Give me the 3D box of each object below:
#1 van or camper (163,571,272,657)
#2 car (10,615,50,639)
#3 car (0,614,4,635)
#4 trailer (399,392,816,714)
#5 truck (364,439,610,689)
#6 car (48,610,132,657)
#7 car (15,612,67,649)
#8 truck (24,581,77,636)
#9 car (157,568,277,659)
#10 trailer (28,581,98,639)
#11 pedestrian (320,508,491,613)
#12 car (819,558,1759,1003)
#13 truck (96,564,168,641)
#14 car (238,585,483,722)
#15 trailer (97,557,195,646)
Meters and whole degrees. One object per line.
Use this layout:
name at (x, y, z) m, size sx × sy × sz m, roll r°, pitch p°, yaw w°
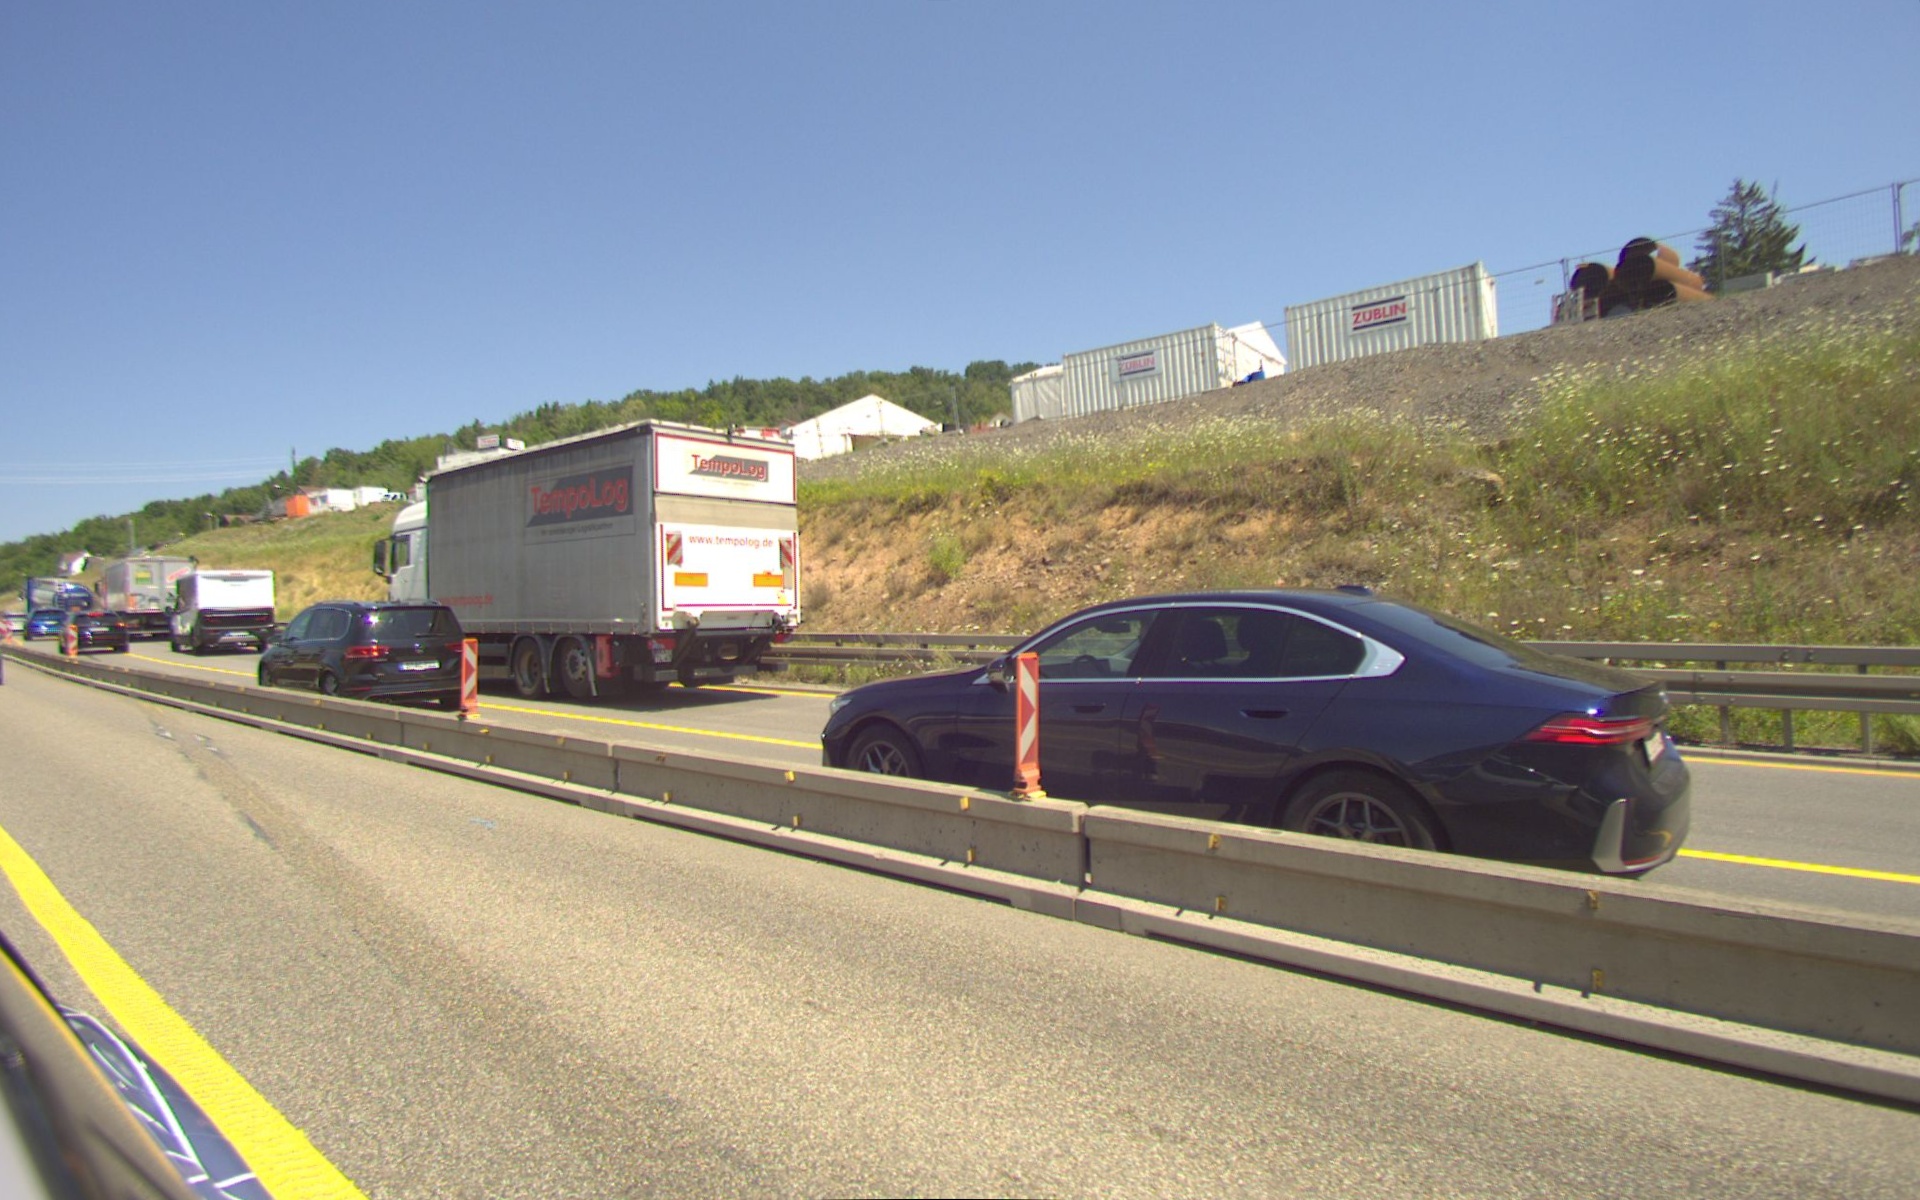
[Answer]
van or camper at (-25.766, 0.469, 34.994) m, size 2.099 × 2.725 × 6.459 m, roll 0°, pitch -1°, yaw -45°
car at (-59.489, 1.697, 64.708) m, size 1.812 × 1.440 × 4.539 m, roll -1°, pitch 0°, yaw -43°
car at (-74.193, 1.882, 77.147) m, size 1.812 × 1.530 × 4.846 m, roll -1°, pitch 0°, yaw -44°
trailer at (-6.233, -0.629, 16.965) m, size 8.237 × 4.205 × 2.784 m, roll 0°, pitch 1°, yaw 40°
truck at (-9.071, -0.617, 19.352) m, size 4.070 × 4.181 × 2.770 m, roll 0°, pitch 1°, yaw 40°
car at (-30.776, 1.185, 35.749) m, size 4.185 × 1.529 × 1.735 m, roll -2°, pitch 0°, yaw 42°
car at (-47.113, 1.522, 51.924) m, size 1.811 × 1.676 × 4.692 m, roll -1°, pitch 1°, yaw -41°
truck at (-68.773, 0.581, 76.514) m, size 4.588 × 4.006 × 2.555 m, roll 0°, pitch 1°, yaw 43°
car at (-25.705, 0.414, 34.896) m, size 6.560 × 2.842 × 2.250 m, roll 0°, pitch 1°, yaw 44°
trailer at (-64.174, 0.664, 72.288) m, size 11.272 × 3.899 × 2.572 m, roll 0°, pitch 1°, yaw 43°
pedestrian at (-11.906, -0.778, 21.643) m, size 3.999 × 2.029 × 1.972 m, roll 0°, pitch 1°, yaw 42°
car at (1.473, 0.615, 5.771) m, size 4.771 × 1.539 × 1.836 m, roll 0°, pitch 1°, yaw 41°
truck at (-43.804, 0.084, 53.512) m, size 2.554 × 3.857 × 5.386 m, roll -1°, pitch 1°, yaw -43°
car at (-9.185, 0.719, 15.339) m, size 4.606 × 1.769 × 1.836 m, roll -1°, pitch 0°, yaw 41°
trailer at (-39.492, 0.038, 48.886) m, size 2.625 × 3.844 × 11.831 m, roll -1°, pitch 1°, yaw -44°
